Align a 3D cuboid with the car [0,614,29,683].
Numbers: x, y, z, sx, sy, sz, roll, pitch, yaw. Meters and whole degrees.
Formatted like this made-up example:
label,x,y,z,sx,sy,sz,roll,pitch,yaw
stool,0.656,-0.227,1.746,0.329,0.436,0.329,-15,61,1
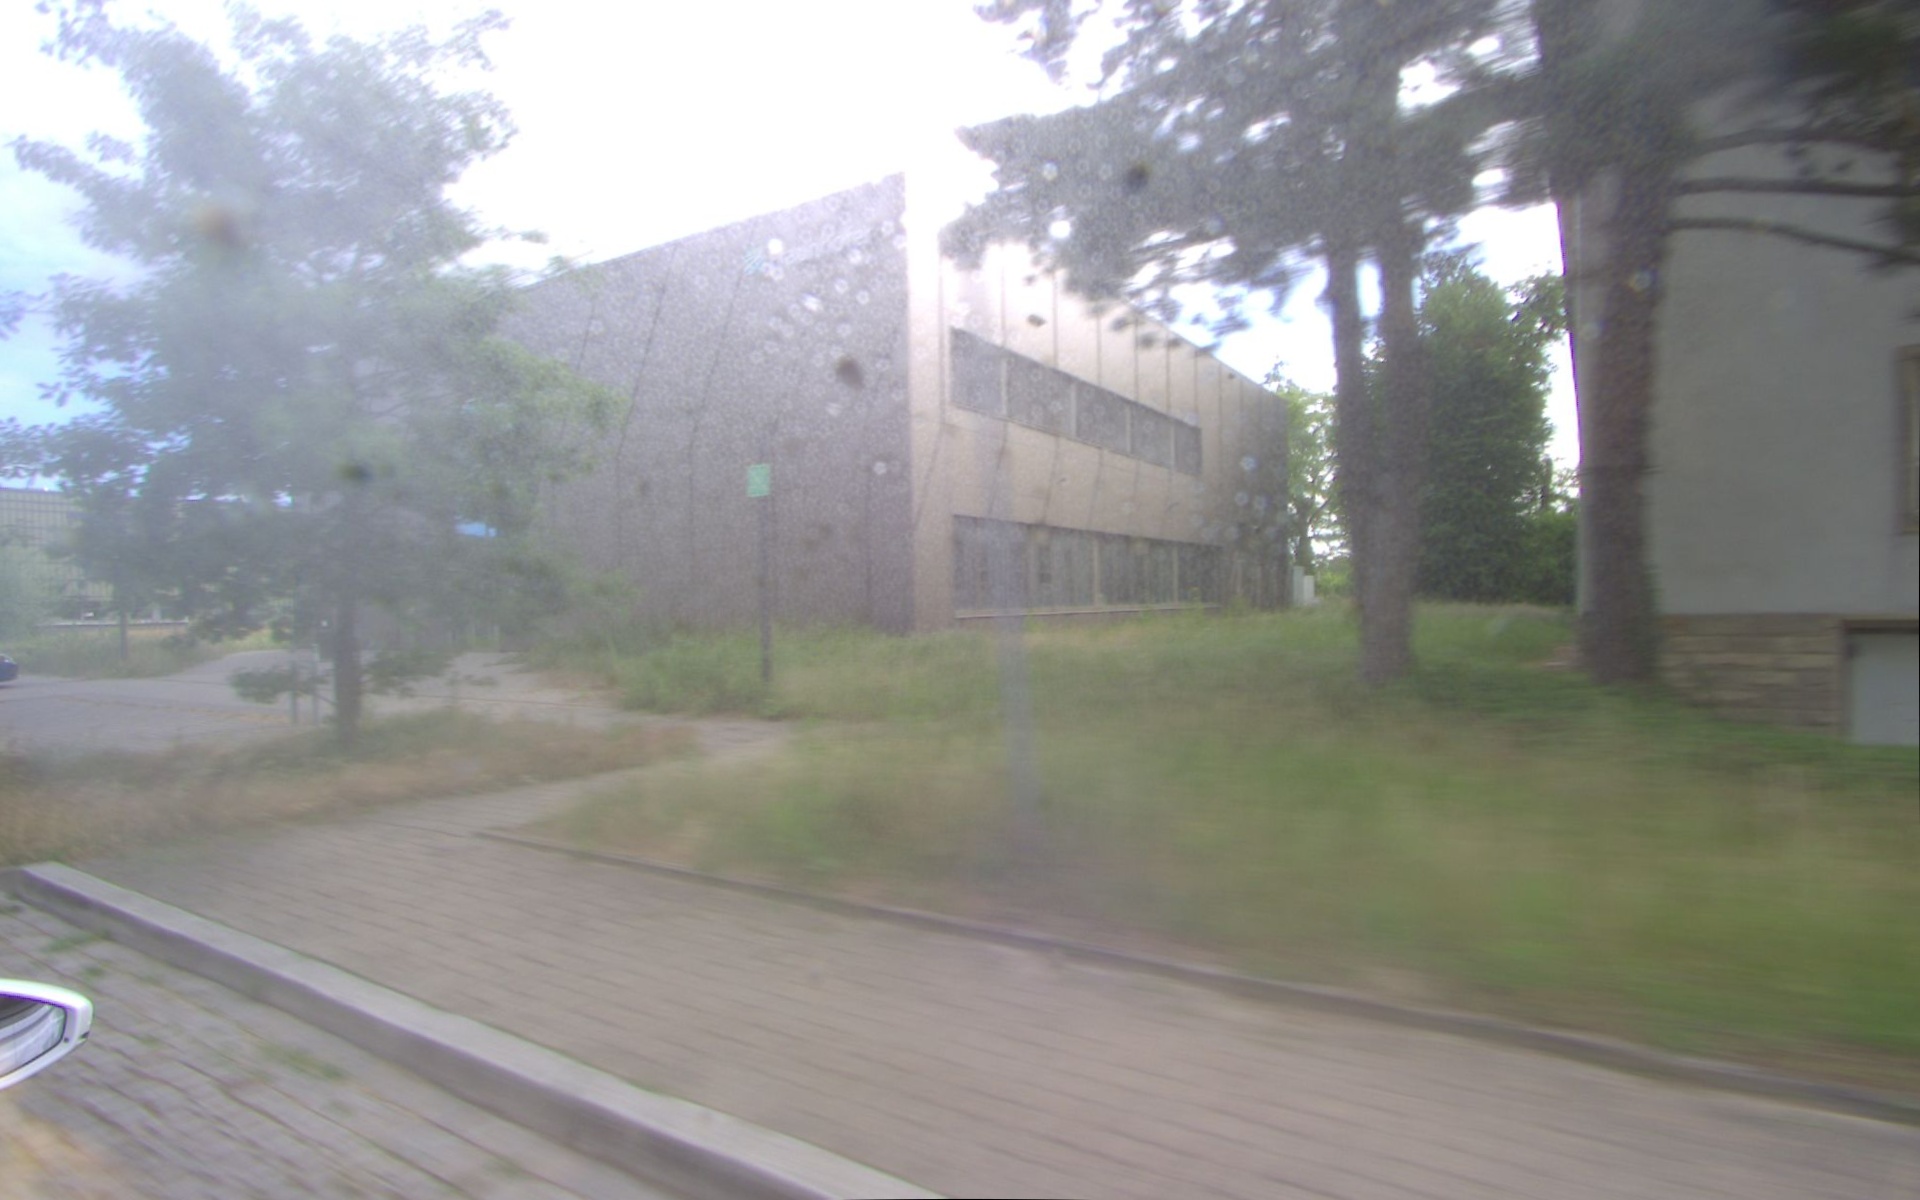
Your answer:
label,x,y,z,sx,sy,sz,roll,pitch,yaw
car,-22.950,1.173,21.107,1.803,1.495,4.481,-1,2,30
